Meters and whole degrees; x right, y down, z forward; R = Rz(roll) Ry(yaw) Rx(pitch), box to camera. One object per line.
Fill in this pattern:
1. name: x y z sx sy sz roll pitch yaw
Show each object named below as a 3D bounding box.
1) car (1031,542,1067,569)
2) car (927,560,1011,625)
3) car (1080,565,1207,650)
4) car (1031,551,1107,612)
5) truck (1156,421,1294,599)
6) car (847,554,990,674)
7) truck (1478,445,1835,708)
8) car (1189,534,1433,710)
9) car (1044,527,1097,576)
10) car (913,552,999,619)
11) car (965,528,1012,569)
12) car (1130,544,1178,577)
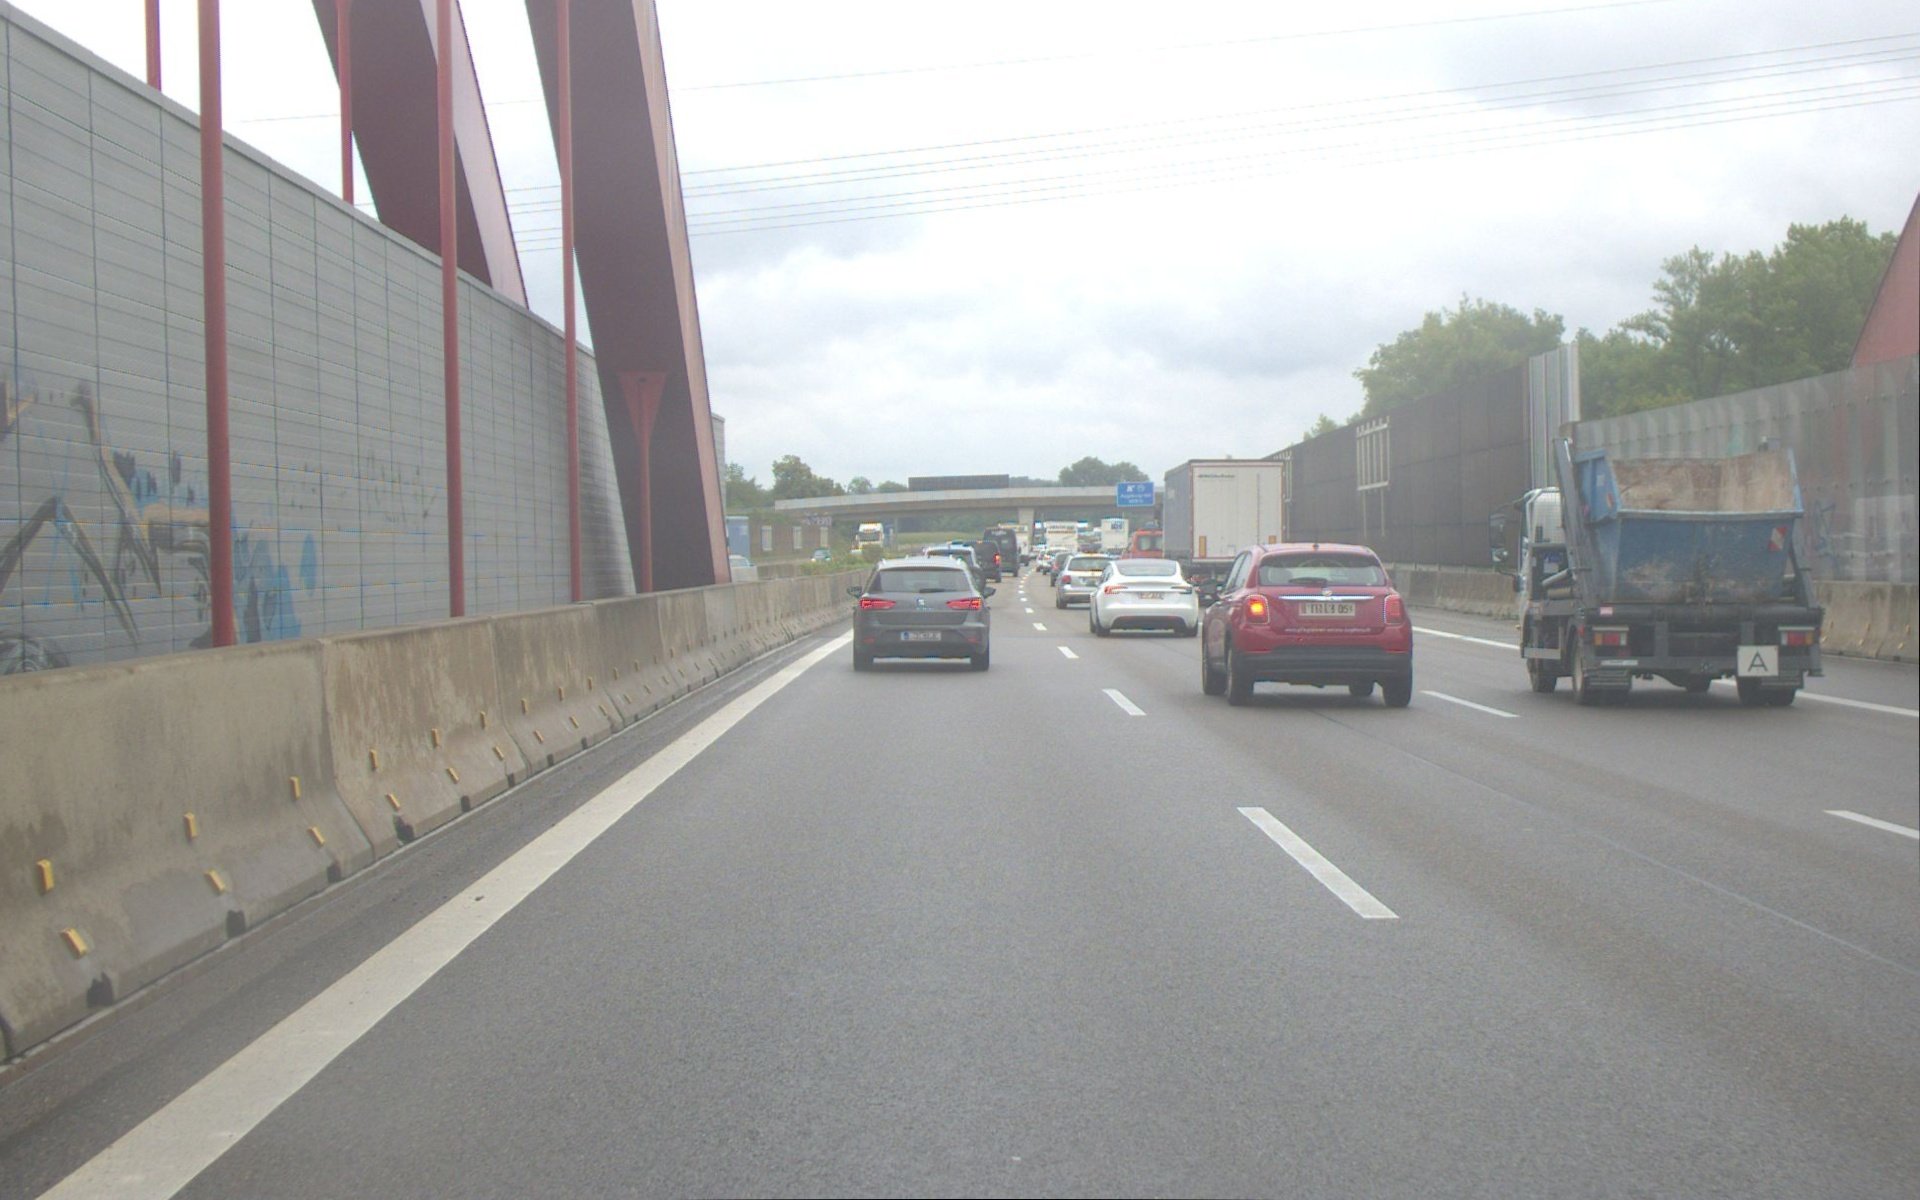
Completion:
1. car: 5.143 -2.601 199.682 1.993 1.514 4.000 0 1 0
2. car: 0.211 -0.218 89.119 1.993 1.579 4.001 -1 1 -2
3. car: 3.331 0.108 63.241 1.993 1.481 4.000 0 1 -2
4. car: 2.857 -0.502 90.567 1.702 1.538 3.839 0 1 -3
5. truck: 7.313 -2.472 95.836 3.044 4.718 7.680 1 1 -1
6. car: -0.540 0.145 44.430 1.763 1.448 4.000 0 1 -1
7. truck: 7.099 -0.282 35.810 2.361 2.498 6.144 0 1 -1
8. car: 3.473 0.171 34.682 1.957 1.641 4.001 0 2 -1
9. car: 4.636 -2.056 144.518 1.993 2.007 4.000 1 1 -1
10. car: -0.104 -0.338 75.763 1.781 1.401 3.626 0 1 -2
11. car: 1.256 -2.314 153.895 1.993 1.809 4.000 0 1 -1
12. car: 9.048 -1.864 160.603 1.993 1.514 4.000 0 1 0
